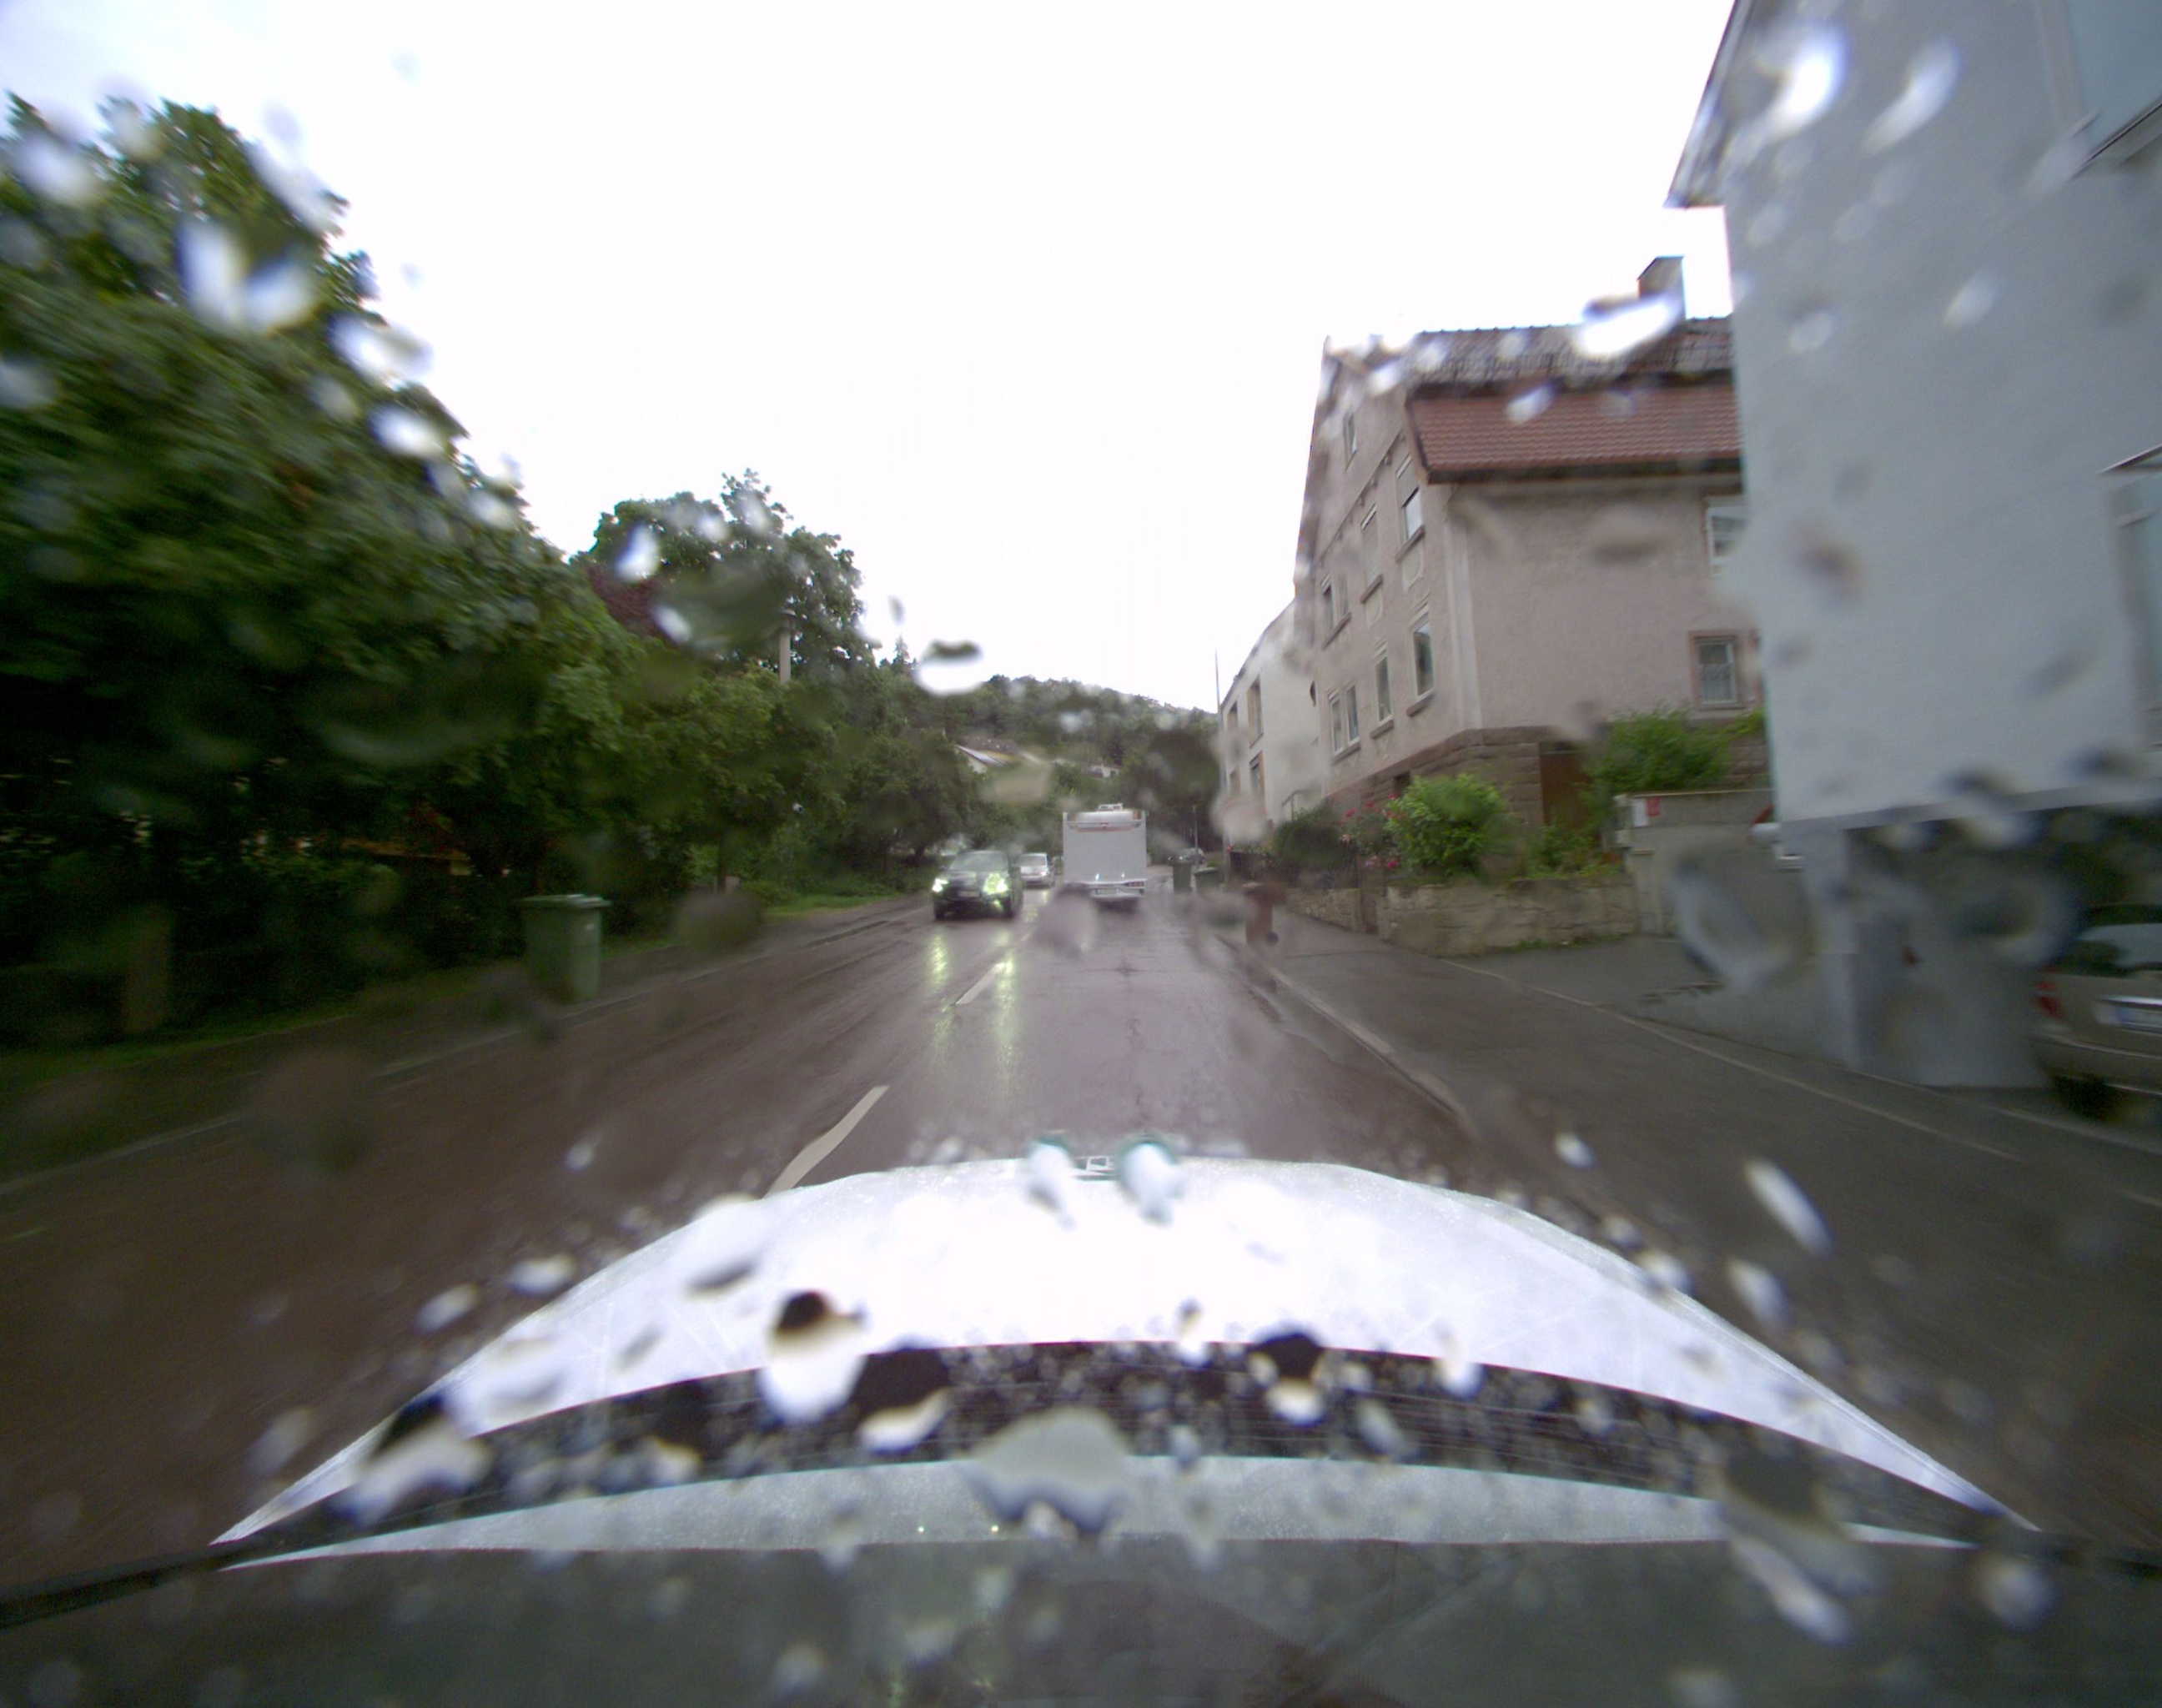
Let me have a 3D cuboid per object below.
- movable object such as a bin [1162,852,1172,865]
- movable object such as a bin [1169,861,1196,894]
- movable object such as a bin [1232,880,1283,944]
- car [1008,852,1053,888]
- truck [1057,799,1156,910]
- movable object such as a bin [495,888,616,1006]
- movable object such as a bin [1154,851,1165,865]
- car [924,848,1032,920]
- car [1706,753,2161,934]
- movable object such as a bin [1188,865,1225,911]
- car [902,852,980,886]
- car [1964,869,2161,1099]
[{"bbox_3d":[7.708,0.384,72.723,0.708,1.088,0.555,-1,0,-28],"label":"movable object such as a bin"},{"bbox_3d":[3.383,0.782,27.255,0.832,1.060,0.750,-1,0,2],"label":"movable object such as a bin"},{"bbox_3d":[2.669,0.866,12.364,0.628,0.897,0.712,-1,0,1],"label":"movable object such as a bin"},{"bbox_3d":[-2.266,0.699,37.748,1.799,1.553,3.829,-1,0,0],"label":"car"},{"bbox_3d":[0.730,0.010,24.291,2.506,2.817,6.203,-1,0,1],"label":"truck"},{"bbox_3d":[-5.278,0.911,8.221,0.718,1.100,0.758,0,0,1],"label":"movable object such as a bin"},{"bbox_3d":[6.987,0.354,72.378,0.670,1.139,0.620,-1,0,-28],"label":"movable object such as a bin"},{"bbox_3d":[-2.495,0.686,20.830,1.910,1.623,4.367,-1,0,3],"label":"car"},{"bbox_3d":[9.100,-0.120,8.394,3.977,1.586,1.811,-1,0,-2],"label":"car"},{"bbox_3d":[3.045,0.824,19.800,0.793,1.070,0.761,-1,0,3],"label":"movable object such as a bin"},{"bbox_3d":[-8.157,0.863,47.693,4.089,1.800,2.002,-1,0,3],"label":"car"},{"bbox_3d":[8.355,0.745,5.045,3.960,1.304,1.682,-1,0,0],"label":"car"}]
